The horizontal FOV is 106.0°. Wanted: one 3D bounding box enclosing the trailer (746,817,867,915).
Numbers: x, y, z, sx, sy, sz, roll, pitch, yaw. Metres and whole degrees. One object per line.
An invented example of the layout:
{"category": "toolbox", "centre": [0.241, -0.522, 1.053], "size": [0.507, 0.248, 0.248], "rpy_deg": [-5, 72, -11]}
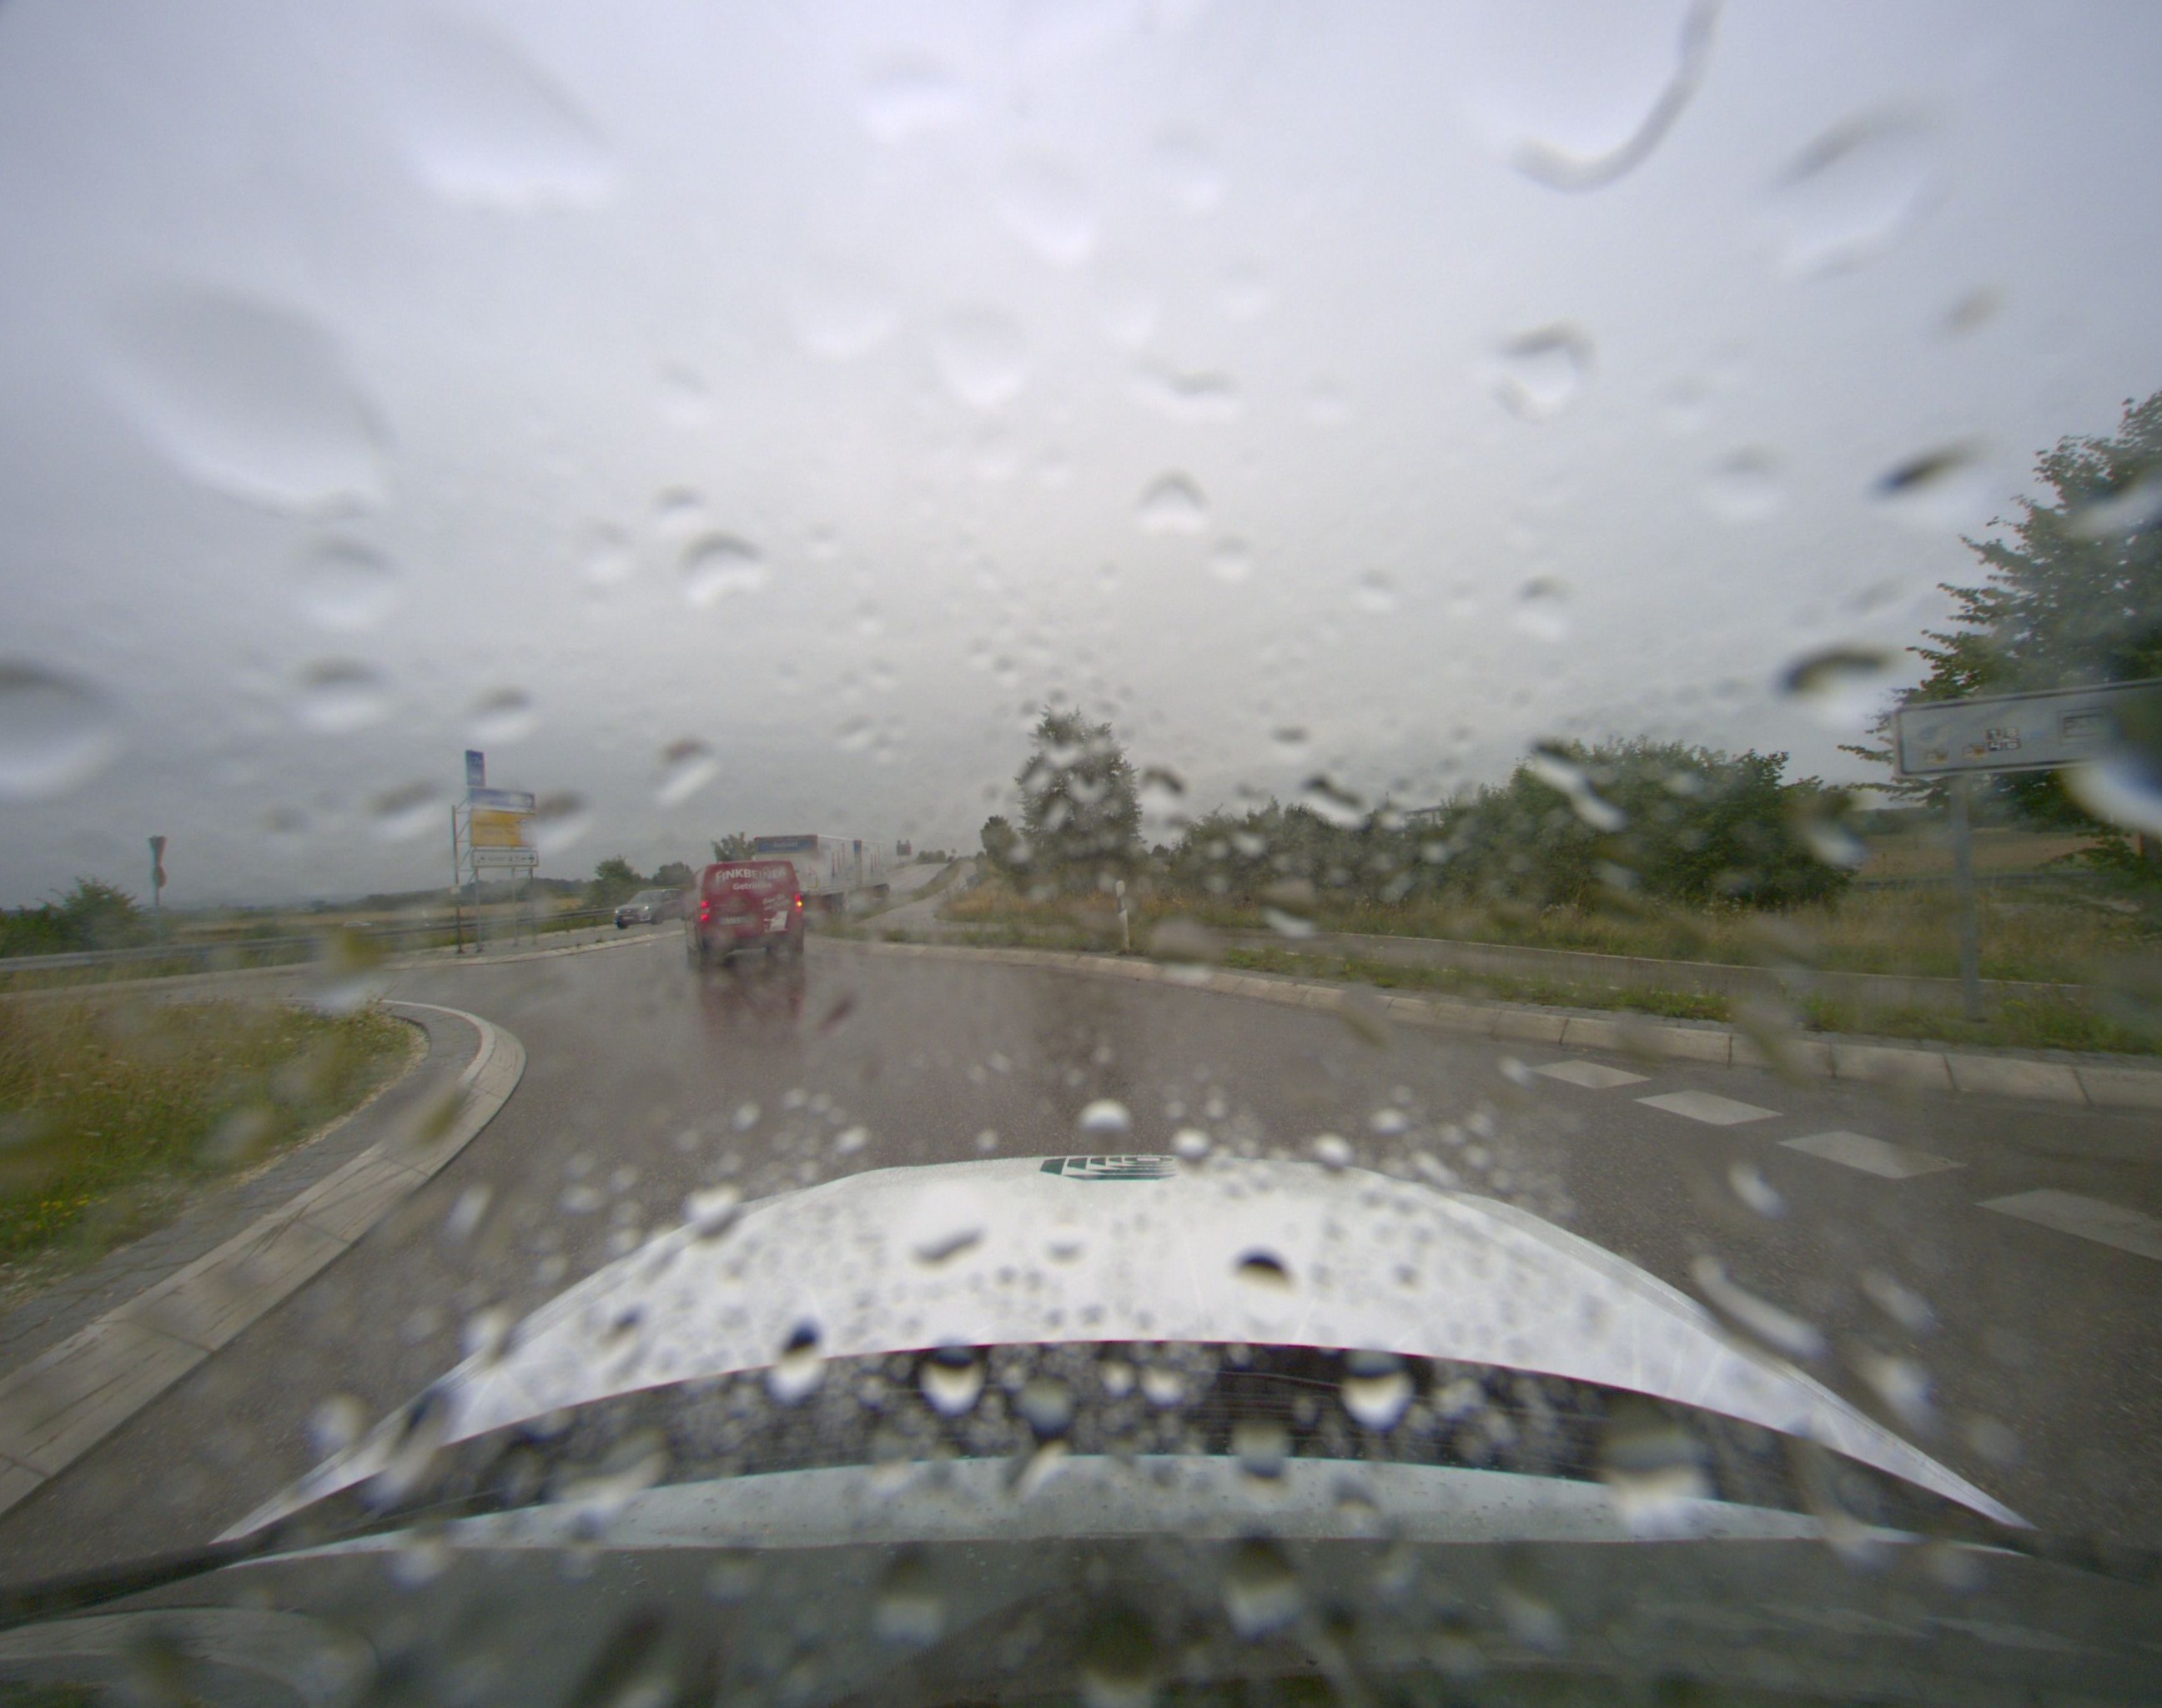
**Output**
{"category": "trailer", "centre": [-12.364, 0.494, 37.779], "size": [2.827, 3.818, 9.699], "rpy_deg": [-3, 0, -4]}

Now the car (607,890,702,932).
{"category": "car", "centre": [-19.010, 2.505, 36.542], "size": [1.791, 1.575, 4.006], "rpy_deg": [-3, -1, 6]}

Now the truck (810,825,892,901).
{"category": "truck", "centre": [-12.916, 0.464, 46.435], "size": [2.794, 3.819, 7.678], "rpy_deg": [-3, 0, -4]}

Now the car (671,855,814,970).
{"category": "car", "centre": [-7.089, 1.063, 16.717], "size": [2.006, 1.870, 4.930], "rpy_deg": [-4, 1, -30]}
